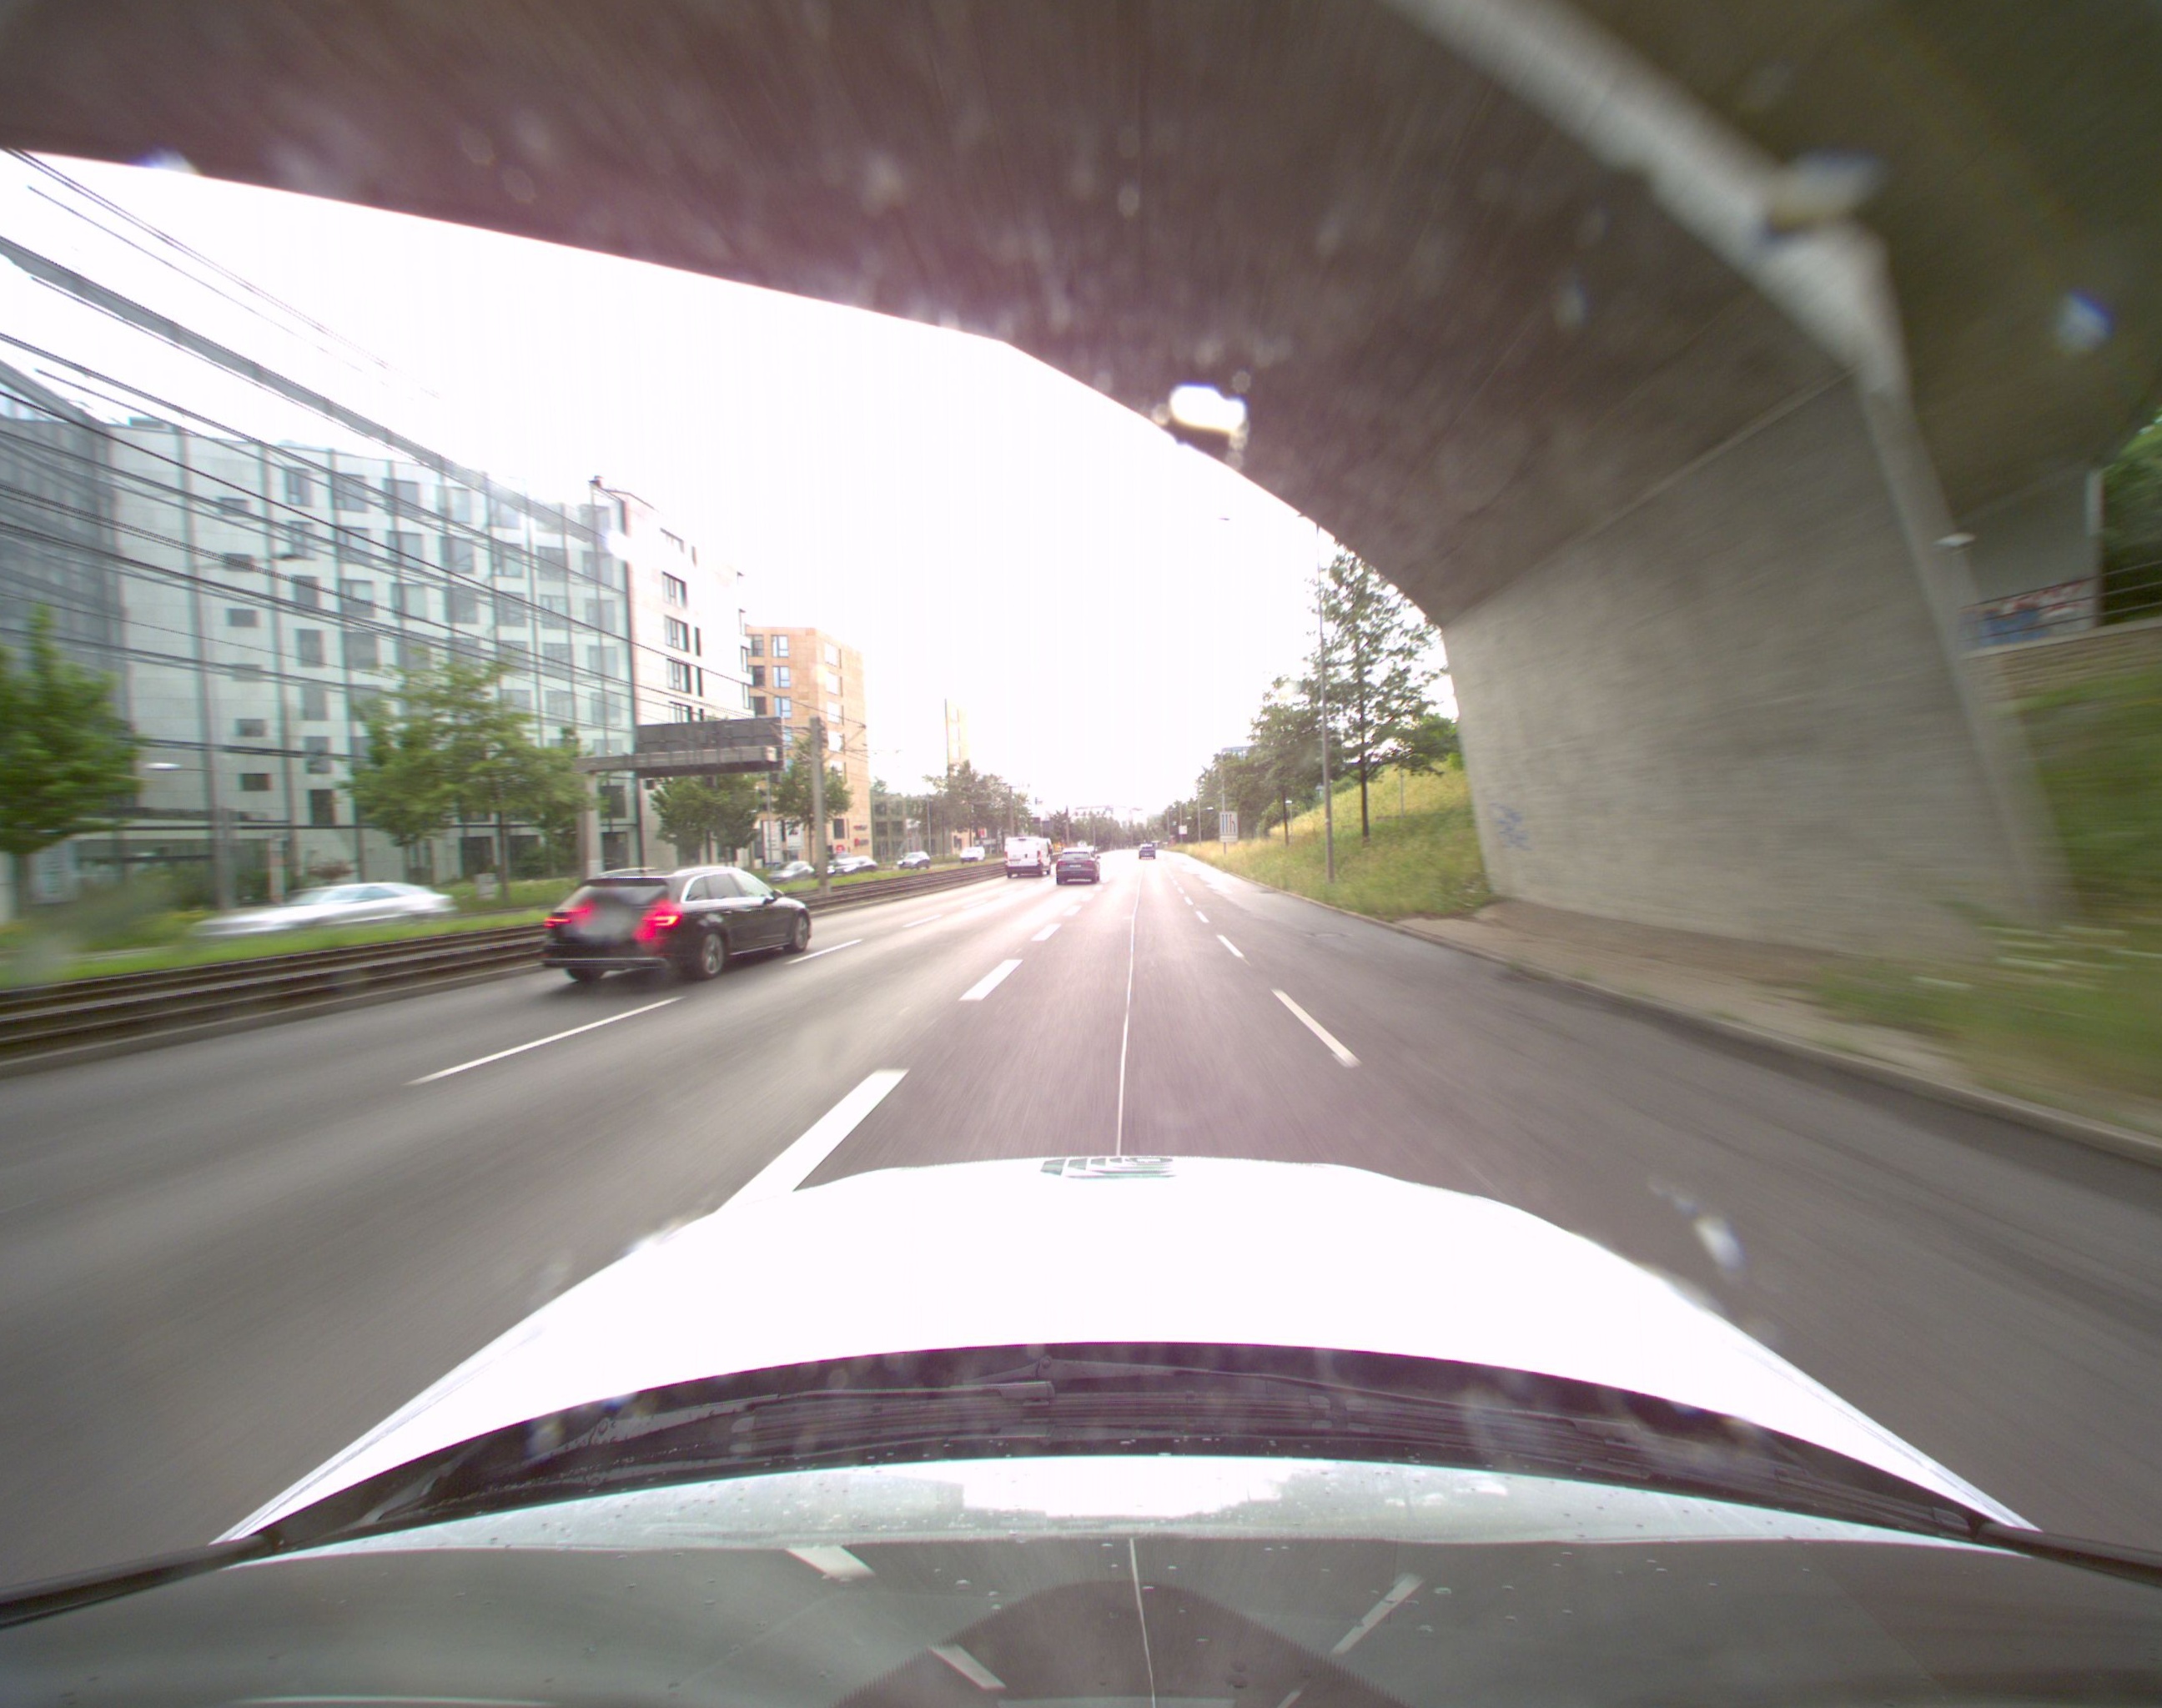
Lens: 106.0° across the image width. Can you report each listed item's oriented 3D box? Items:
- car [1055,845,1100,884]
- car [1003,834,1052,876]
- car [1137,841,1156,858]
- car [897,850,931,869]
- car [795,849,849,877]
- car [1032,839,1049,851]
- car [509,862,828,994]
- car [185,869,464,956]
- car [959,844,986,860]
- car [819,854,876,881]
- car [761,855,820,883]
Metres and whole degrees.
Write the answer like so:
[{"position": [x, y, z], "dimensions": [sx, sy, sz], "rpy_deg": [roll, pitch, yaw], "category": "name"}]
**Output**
[{"position": [-0.131, 0.481, 38.493], "dimensions": [1.915, 1.710, 4.100], "rpy_deg": [-1, -1, 2], "category": "car"}, {"position": [-3.027, 0.039, 47.095], "dimensions": [2.259, 2.284, 4.763], "rpy_deg": [-1, 1, 3], "category": "car"}, {"position": [6.830, -0.479, 85.434], "dimensions": [1.782, 1.591, 4.002], "rpy_deg": [-3, 0, 2], "category": "car"}, {"position": [-15.348, 0.513, 74.934], "dimensions": [1.801, 1.606, 4.498], "rpy_deg": [-1, 1, 6], "category": "car"}, {"position": [-19.769, 0.625, 62.339], "dimensions": [2.048, 1.952, 5.141], "rpy_deg": [-1, 1, 6], "category": "car"}, {"position": [-6.245, -1.377, 126.473], "dimensions": [1.928, 1.761, 4.818], "rpy_deg": [-1, 1, 6], "category": "car"}, {"position": [-5.395, 0.861, 11.556], "dimensions": [1.778, 1.414, 4.811], "rpy_deg": [-1, 0, 4], "category": "car"}, {"position": [-17.414, 1.256, 19.165], "dimensions": [1.755, 1.598, 4.800], "rpy_deg": [-1, 1, 6], "category": "car"}, {"position": [-12.665, -0.284, 95.320], "dimensions": [1.928, 1.761, 5.070], "rpy_deg": [-1, 1, 6], "category": "car"}, {"position": [-14.734, 0.818, 51.702], "dimensions": [1.801, 1.533, 4.877], "rpy_deg": [-1, 1, 6], "category": "car"}, {"position": [-18.050, 0.901, 50.772], "dimensions": [1.801, 1.533, 4.282], "rpy_deg": [-1, 1, 6], "category": "car"}]
